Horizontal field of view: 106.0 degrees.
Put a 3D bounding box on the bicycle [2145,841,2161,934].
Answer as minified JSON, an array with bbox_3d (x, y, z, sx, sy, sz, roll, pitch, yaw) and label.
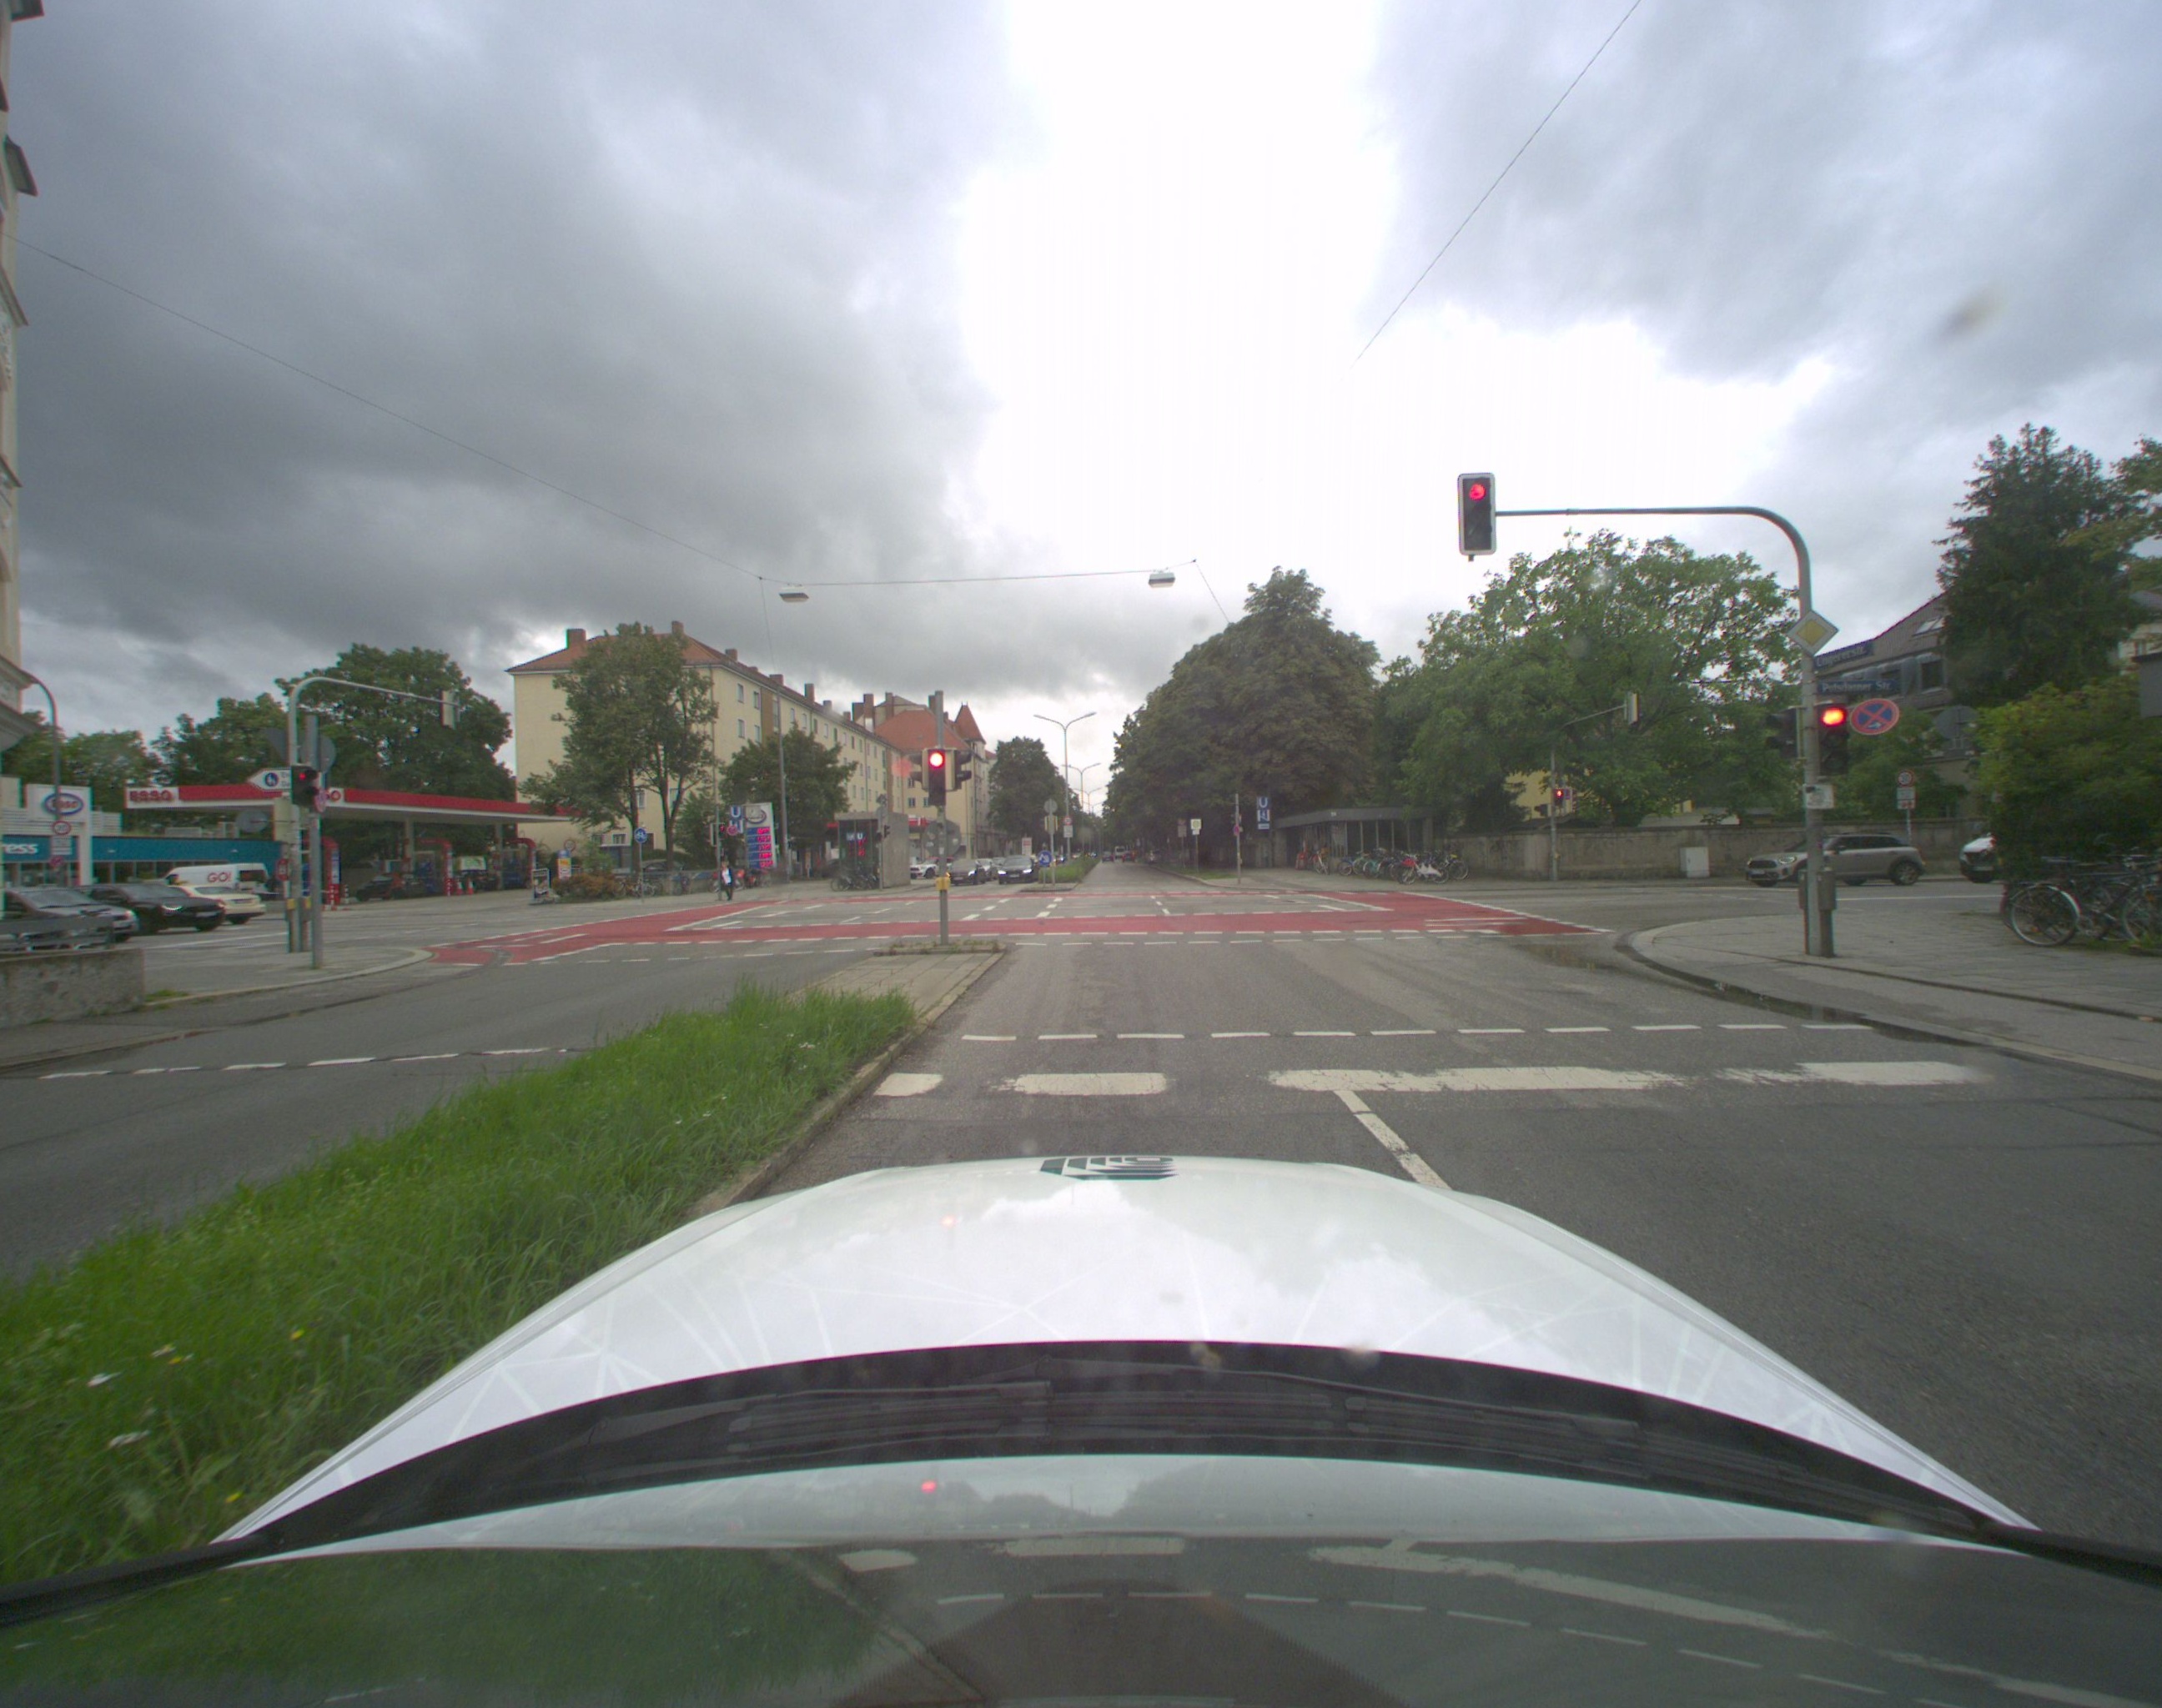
[{"bbox_3d":[13.138,0.388,9.013,0.467,1.121,1.736,-2,-1,2],"label":"bicycle"}]

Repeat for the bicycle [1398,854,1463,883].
[{"bbox_3d":[13.056,0.541,30.509,2.130,1.014,0.636,-2,0,10],"label":"bicycle"}]

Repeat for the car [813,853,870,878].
[{"bbox_3d":[-19.361,0.927,65.858,3.975,1.838,1.880,-2,0,-1],"label":"car"}]

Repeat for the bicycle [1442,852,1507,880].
[{"bbox_3d":[15.226,0.444,31.551,2.130,1.014,0.636,-2,0,10],"label":"bicycle"}]

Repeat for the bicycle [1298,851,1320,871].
[{"bbox_3d":[11.669,0.348,41.750,0.555,1.014,2.015,-2,0,0],"label":"bicycle"}]

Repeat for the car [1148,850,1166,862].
[{"bbox_3d":[8.662,0.202,92.796,1.736,1.363,3.808,-2,0,2],"label":"car"}]

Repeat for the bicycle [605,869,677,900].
[{"bbox_3d":[-19.222,1.315,35.633,2.720,1.251,0.786,0,-1,-29],"label":"bicycle"}]

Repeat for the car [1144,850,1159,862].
[{"bbox_3d":[8.914,0.247,103.031,1.736,1.363,3.808,-2,0,2],"label":"car"}]

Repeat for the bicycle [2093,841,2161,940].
[{"bbox_3d":[12.495,0.408,8.997,0.467,1.121,1.736,-2,-1,2],"label":"bicycle"}]

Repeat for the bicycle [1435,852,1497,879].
[{"bbox_3d":[15.259,0.449,32.319,2.130,1.014,0.636,-2,0,10],"label":"bicycle"}]

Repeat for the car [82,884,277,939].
[{"bbox_3d":[-30.903,1.947,28.004,4.746,1.647,1.786,-2,0,2],"label":"car"}]

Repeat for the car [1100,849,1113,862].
[{"bbox_3d":[3.637,0.182,116.739,1.850,1.684,4.002,-2,0,2],"label":"car"}]

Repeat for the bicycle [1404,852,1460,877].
[{"bbox_3d":[15.296,0.461,35.481,2.130,1.014,0.636,-2,0,10],"label":"bicycle"}]

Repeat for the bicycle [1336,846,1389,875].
[{"bbox_3d":[12.604,0.284,36.472,2.130,1.218,0.604,-2,0,10],"label":"bicycle"}]

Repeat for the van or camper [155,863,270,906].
[{"bbox_3d":[-51.481,1.768,48.333,4.525,2.323,1.917,-2,0,-3],"label":"van or camper"}]

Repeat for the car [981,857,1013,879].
[{"bbox_3d":[-6.031,0.966,58.837,1.753,1.460,4.002,-2,0,2],"label":"car"}]

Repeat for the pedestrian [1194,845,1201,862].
[{"bbox_3d":[11.520,-0.029,80.463,0.674,1.682,0.684,-2,0,8],"label":"pedestrian"}]

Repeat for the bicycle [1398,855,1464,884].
[{"bbox_3d":[12.835,0.559,29.891,2.130,1.014,0.604,-2,0,10],"label":"bicycle"}]

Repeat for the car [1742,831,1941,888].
[{"bbox_3d":[22.483,0.148,24.200,4.148,1.514,1.698,-2,0,5],"label":"car"}]

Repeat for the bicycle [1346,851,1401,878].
[{"bbox_3d":[12.521,0.443,34.872,2.130,1.062,0.604,-2,0,10],"label":"bicycle"}]

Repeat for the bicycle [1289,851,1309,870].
[{"bbox_3d":[12.063,0.353,45.054,0.555,1.014,2.015,-2,0,0],"label":"bicycle"}]

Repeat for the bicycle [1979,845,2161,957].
[{"bbox_3d":[11.266,0.480,9.007,0.597,1.121,1.891,-2,-1,2],"label":"bicycle"}]

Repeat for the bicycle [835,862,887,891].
[{"bbox_3d":[-10.583,1.093,39.273,2.275,1.304,0.694,-2,0,2],"label":"bicycle"}]

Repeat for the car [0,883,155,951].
[{"bbox_3d":[-26.248,1.584,20.601,3.608,1.517,1.663,-2,0,-1],"label":"car"}]

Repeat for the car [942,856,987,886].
[{"bbox_3d":[-6.361,0.903,44.923,1.753,1.460,4.002,-2,0,2],"label":"car"}]

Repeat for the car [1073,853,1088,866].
[{"bbox_3d":[-0.033,0.571,88.553,1.462,1.399,3.701,-2,0,2],"label":"car"}]

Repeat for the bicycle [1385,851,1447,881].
[{"bbox_3d":[12.862,0.463,31.321,2.130,1.071,0.604,-2,0,10],"label":"bicycle"}]

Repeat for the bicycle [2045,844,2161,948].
[{"bbox_3d":[11.919,0.457,9.008,0.467,1.121,1.736,-2,-1,2],"label":"bicycle"}]

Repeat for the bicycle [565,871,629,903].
[{"bbox_3d":[-20.536,1.392,34.586,2.180,1.236,0.763,-2,0,-10],"label":"bicycle"}]

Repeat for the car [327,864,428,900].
[{"bbox_3d":[-39.230,1.546,45.450,3.972,1.784,1.858,-2,0,1],"label":"car"}]

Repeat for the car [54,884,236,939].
[{"bbox_3d":[-27.424,1.669,23.930,3.531,1.412,1.666,-2,0,4],"label":"car"}]

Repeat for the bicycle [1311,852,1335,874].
[{"bbox_3d":[11.585,0.409,39.019,0.555,1.014,2.015,-2,0,0],"label":"bicycle"}]

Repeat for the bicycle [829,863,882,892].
[{"bbox_3d":[-10.635,1.107,38.494,2.262,1.304,0.704,-2,0,2],"label":"bicycle"}]

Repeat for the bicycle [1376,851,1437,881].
[{"bbox_3d":[12.748,0.454,31.979,2.130,1.101,0.604,-2,0,10],"label":"bicycle"}]

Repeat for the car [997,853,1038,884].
[{"bbox_3d":[-3.378,0.750,44.048,1.753,1.493,4.002,-2,0,2],"label":"car"}]

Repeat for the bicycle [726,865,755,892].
[{"bbox_3d":[-16.782,1.175,40.148,0.607,1.236,2.184,-2,0,-4],"label":"bicycle"}]

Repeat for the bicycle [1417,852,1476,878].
[{"bbox_3d":[15.181,0.452,33.901,2.130,1.014,0.636,-2,0,10],"label":"bicycle"}]

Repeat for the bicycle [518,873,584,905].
[{"bbox_3d":[-22.470,1.462,34.549,2.178,1.236,0.764,-2,0,-8],"label":"bicycle"}]

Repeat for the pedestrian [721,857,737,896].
[{"bbox_3d":[-15.614,1.010,36.116,0.593,1.695,0.572,-2,0,-29],"label":"pedestrian"}]

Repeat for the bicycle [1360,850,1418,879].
[{"bbox_3d":[12.630,0.428,33.428,2.130,1.086,0.604,-2,0,10],"label":"bicycle"}]

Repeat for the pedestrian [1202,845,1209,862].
[{"bbox_3d":[12.326,-0.081,80.582,0.674,1.682,0.684,-2,0,8],"label":"pedestrian"}]

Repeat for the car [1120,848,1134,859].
[{"bbox_3d":[6.603,-0.066,117.601,1.915,1.684,4.002,0,0,2],"label":"car"}]

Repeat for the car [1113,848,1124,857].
[{"bbox_3d":[7.332,-0.358,160.870,1.986,1.756,4.001,-2,0,1],"label":"car"}]

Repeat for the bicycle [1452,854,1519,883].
[{"bbox_3d":[15.251,0.542,30.753,2.130,1.014,0.636,-2,0,10],"label":"bicycle"}]

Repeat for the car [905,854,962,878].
[{"bbox_3d":[-10.693,0.873,59.285,1.793,1.608,3.993,-2,0,34],"label":"car"}]

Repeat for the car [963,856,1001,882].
[{"bbox_3d":[-6.289,0.932,52.016,1.753,1.460,4.002,-2,0,2],"label":"car"}]

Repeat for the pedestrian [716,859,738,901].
[{"bbox_3d":[-14.299,1.043,32.934,0.530,1.695,0.579,-2,0,12],"label":"pedestrian"}]

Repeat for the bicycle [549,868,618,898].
[{"bbox_3d":[-21.519,1.230,35.252,2.393,1.251,0.789,0,-1,-9],"label":"bicycle"}]

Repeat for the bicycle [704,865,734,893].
[{"bbox_3d":[-17.468,1.195,39.338,0.607,1.236,2.184,-2,0,-4],"label":"bicycle"}]

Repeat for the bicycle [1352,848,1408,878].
[{"bbox_3d":[12.524,0.382,34.169,2.130,1.178,0.604,-2,0,10],"label":"bicycle"}]

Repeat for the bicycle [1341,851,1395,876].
[{"bbox_3d":[12.581,0.428,35.752,2.130,1.014,0.604,-2,0,10],"label":"bicycle"}]

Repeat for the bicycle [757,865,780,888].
[{"bbox_3d":[-16.975,1.203,44.303,0.607,1.145,1.963,-2,0,-4],"label":"bicycle"}]

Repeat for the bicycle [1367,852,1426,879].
[{"bbox_3d":[12.645,0.463,32.698,2.130,1.014,0.604,-2,0,10],"label":"bicycle"}]

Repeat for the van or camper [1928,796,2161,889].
[{"bbox_3d":[28.691,-0.342,23.773,5.528,2.469,2.069,-2,0,4],"label":"van or camper"}]

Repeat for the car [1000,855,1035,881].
[{"bbox_3d":[-3.992,0.842,51.576,1.753,1.493,4.002,-2,0,2],"label":"car"}]

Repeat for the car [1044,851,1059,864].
[{"bbox_3d":[-4.087,0.453,112.169,1.870,1.668,4.000,-2,0,0],"label":"car"}]

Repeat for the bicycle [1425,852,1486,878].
[{"bbox_3d":[15.207,0.450,33.115,2.130,1.014,0.636,-2,0,10],"label":"bicycle"}]

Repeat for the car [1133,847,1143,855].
[{"bbox_3d":[11.363,-0.578,162.652,1.736,1.427,3.901,-2,0,2],"label":"car"}]

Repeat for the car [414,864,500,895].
[{"bbox_3d":[-39.872,1.598,52.097,3.972,1.784,1.858,-2,0,1],"label":"car"}]
